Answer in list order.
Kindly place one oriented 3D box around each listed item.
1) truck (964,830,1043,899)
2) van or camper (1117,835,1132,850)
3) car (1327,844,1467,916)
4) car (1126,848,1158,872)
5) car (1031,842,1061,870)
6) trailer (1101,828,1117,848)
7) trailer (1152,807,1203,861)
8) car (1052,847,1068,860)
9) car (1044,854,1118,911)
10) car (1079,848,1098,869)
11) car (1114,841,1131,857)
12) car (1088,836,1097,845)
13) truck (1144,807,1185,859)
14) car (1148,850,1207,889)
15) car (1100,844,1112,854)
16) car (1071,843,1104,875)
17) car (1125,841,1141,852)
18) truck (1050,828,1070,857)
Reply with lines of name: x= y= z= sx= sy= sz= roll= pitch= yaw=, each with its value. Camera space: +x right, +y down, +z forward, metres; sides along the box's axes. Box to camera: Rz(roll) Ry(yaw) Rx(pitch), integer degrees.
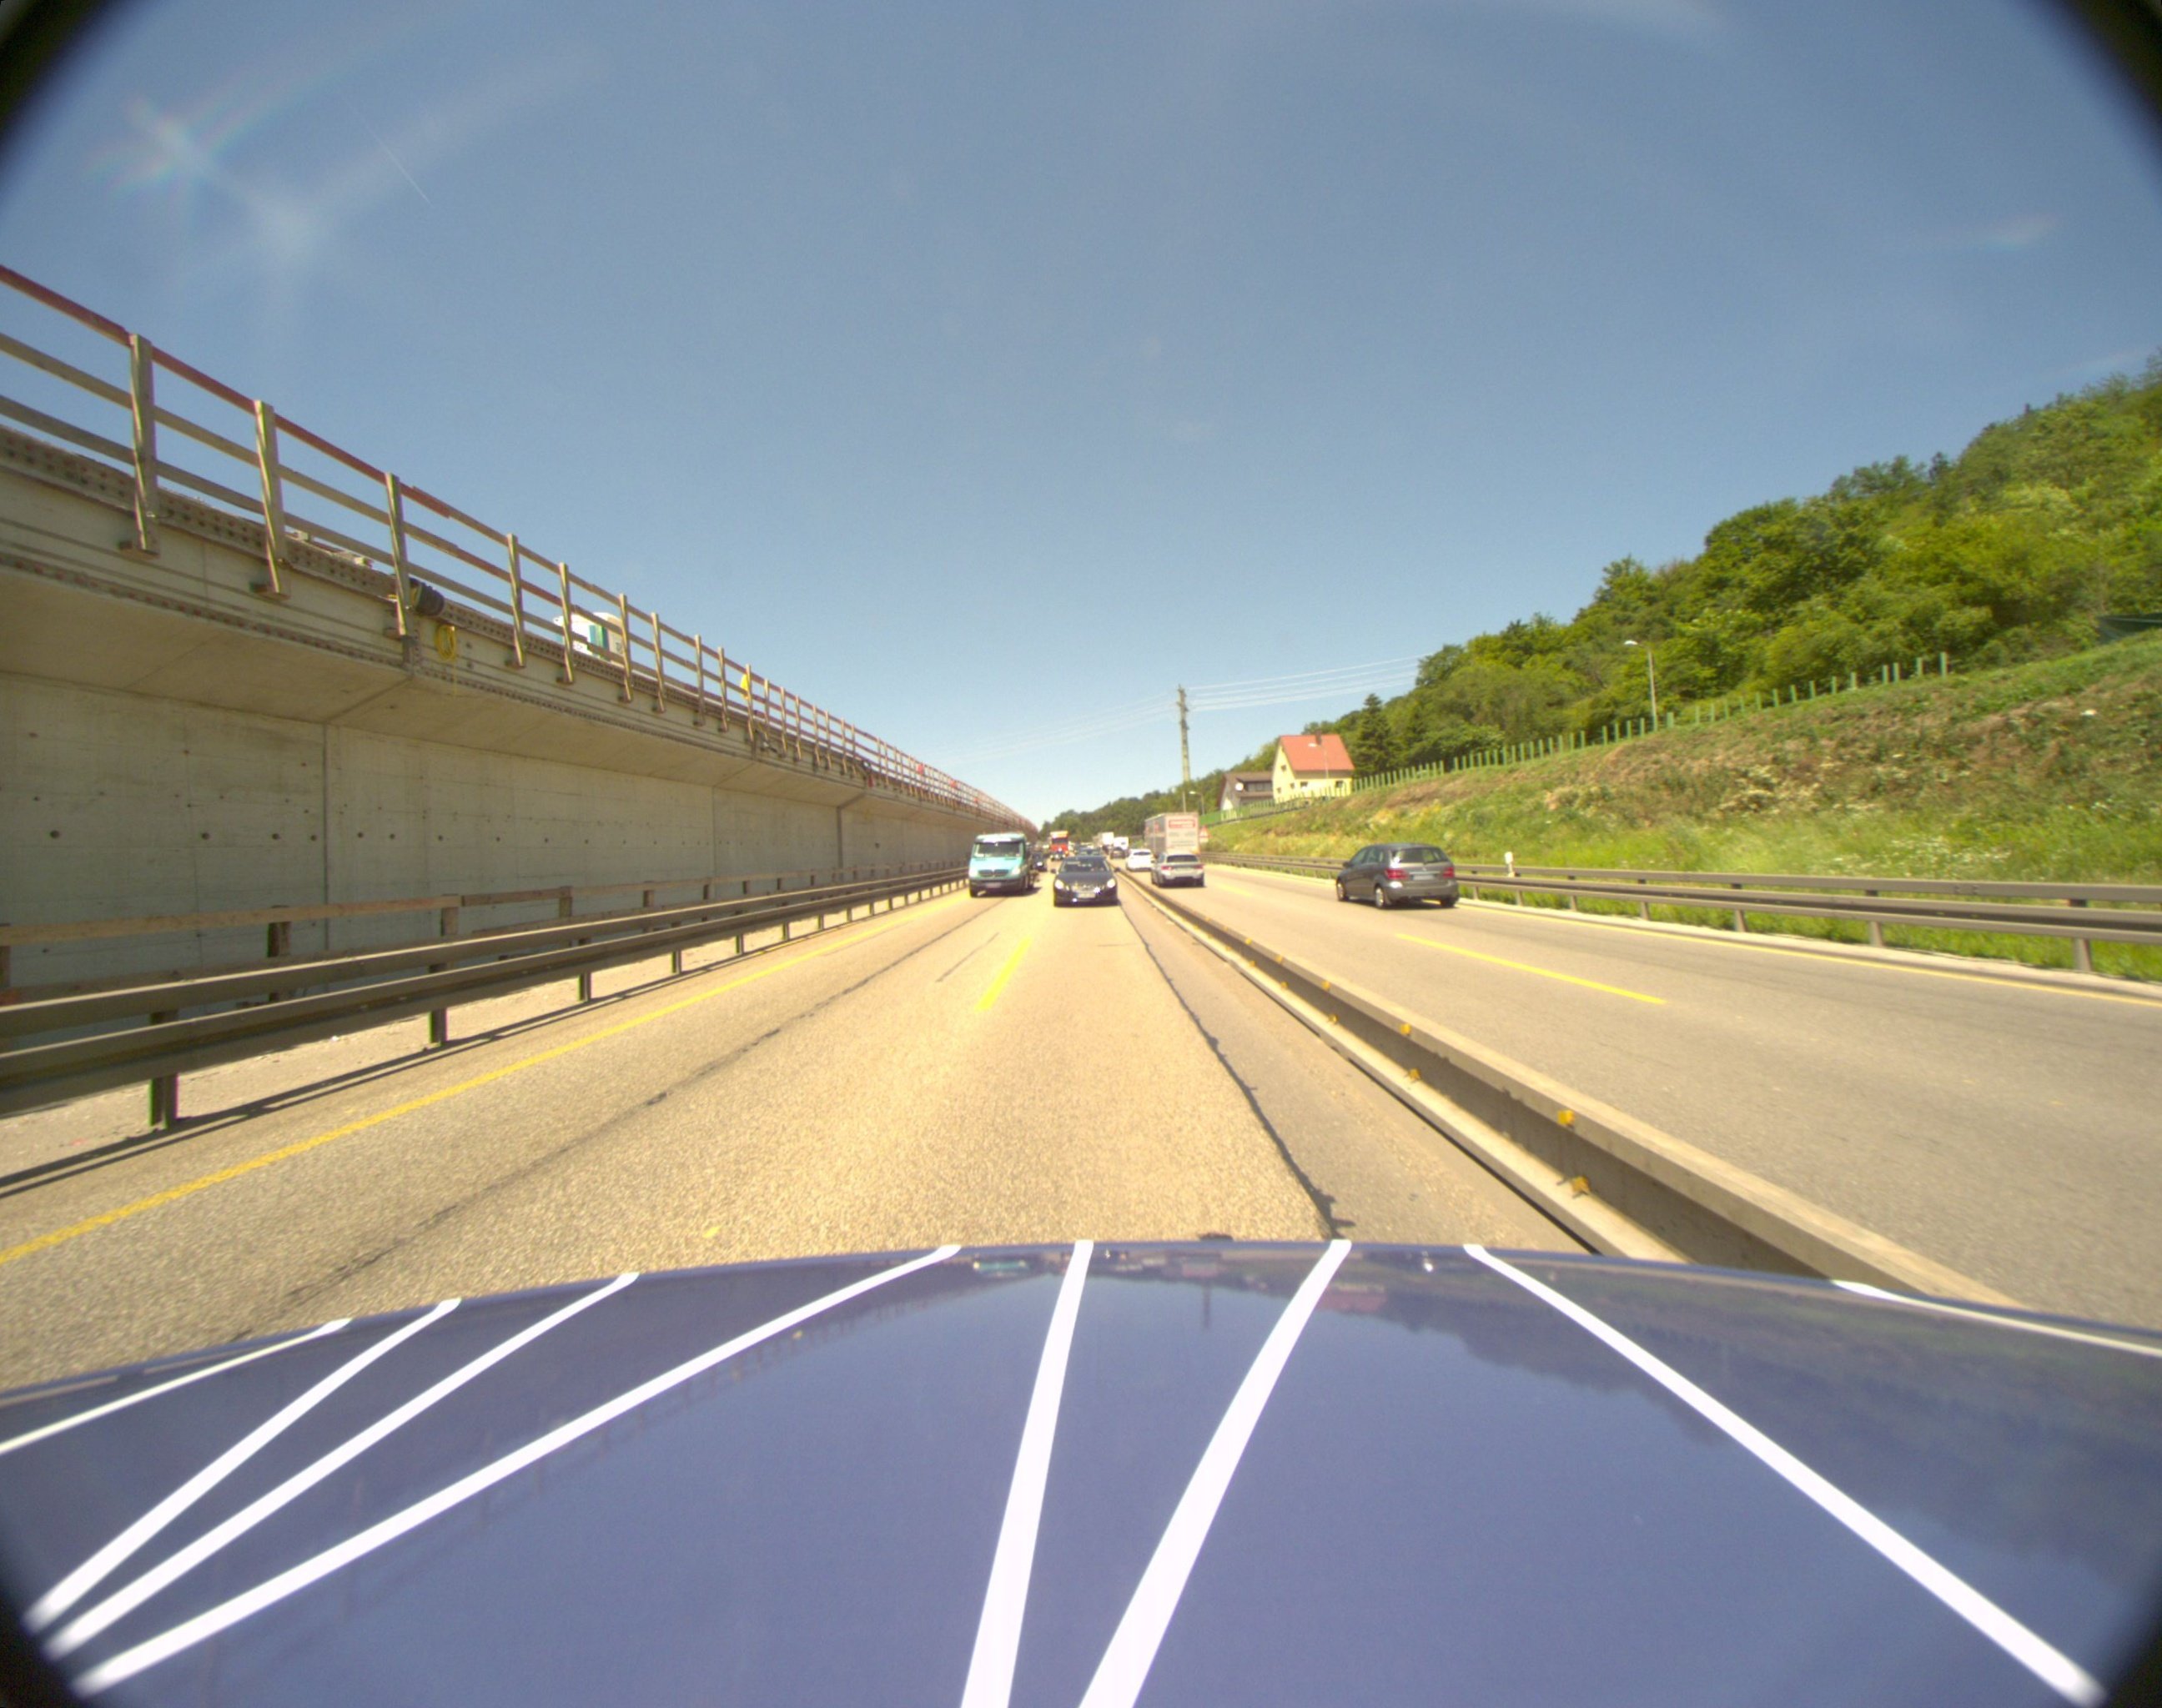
truck: x=-2.851 y=0.272 z=29.952 sx=2.139 sy=2.344 sz=7.431 roll=-2 pitch=1 yaw=1
van or camper: x=7.882 y=-2.095 z=138.335 sx=2.356 sy=2.619 sz=6.900 roll=-2 pitch=1 yaw=1
car: x=7.937 y=0.571 z=19.558 sx=1.777 sy=1.573 sz=4.285 roll=-3 pitch=1 yaw=0
car: x=3.996 y=0.369 z=50.353 sx=1.807 sy=1.455 sz=3.999 roll=-2 pitch=1 yaw=0
car: x=-2.468 y=0.096 z=54.560 sx=1.885 sy=1.805 sz=4.249 roll=-2 pitch=1 yaw=0
trailer: x=6.586 y=-3.785 z=178.864 sx=3.111 sy=4.417 sz=14.625 roll=-2 pitch=1 yaw=0
trailer: x=7.568 y=-1.543 z=60.720 sx=2.936 sy=3.966 sz=8.704 roll=-2 pitch=1 yaw=0
car: x=-2.617 y=-0.064 z=94.866 sx=1.883 sy=1.532 sz=4.280 roll=-2 pitch=1 yaw=0
car: x=0.042 y=0.770 z=23.100 sx=1.998 sy=1.441 sz=4.601 roll=-2 pitch=1 yaw=1
car: x=0.774 y=0.460 z=84.683 sx=1.998 sy=2.003 sz=3.998 roll=-2 pitch=3 yaw=0
car: x=5.134 y=-0.611 z=94.613 sx=1.854 sy=1.879 sz=4.500 roll=-2 pitch=1 yaw=0
car: x=2.643 y=-3.135 z=180.645 sx=1.999 sy=2.002 sz=4.164 roll=-2 pitch=1 yaw=-1
truck: x=7.592 y=-1.895 z=70.253 sx=2.627 sy=4.371 sz=10.383 roll=-2 pitch=1 yaw=0
car: x=3.900 y=0.584 z=31.292 sx=1.834 sy=1.425 sz=4.629 roll=-1 pitch=0 yaw=0
car: x=4.169 y=-0.809 z=128.249 sx=1.875 sy=1.674 sz=4.000 roll=-1 pitch=1 yaw=1
car: x=0.453 y=0.286 z=47.425 sx=1.884 sy=1.805 sz=4.250 roll=-2 pitch=1 yaw=2
car: x=7.494 y=-1.123 z=109.685 sx=1.998 sy=1.499 sz=5.299 roll=-2 pitch=1 yaw=1
truck: x=-3.177 y=-1.872 z=117.147 sx=2.750 sy=4.222 sz=9.092 roll=-2 pitch=1 yaw=0
